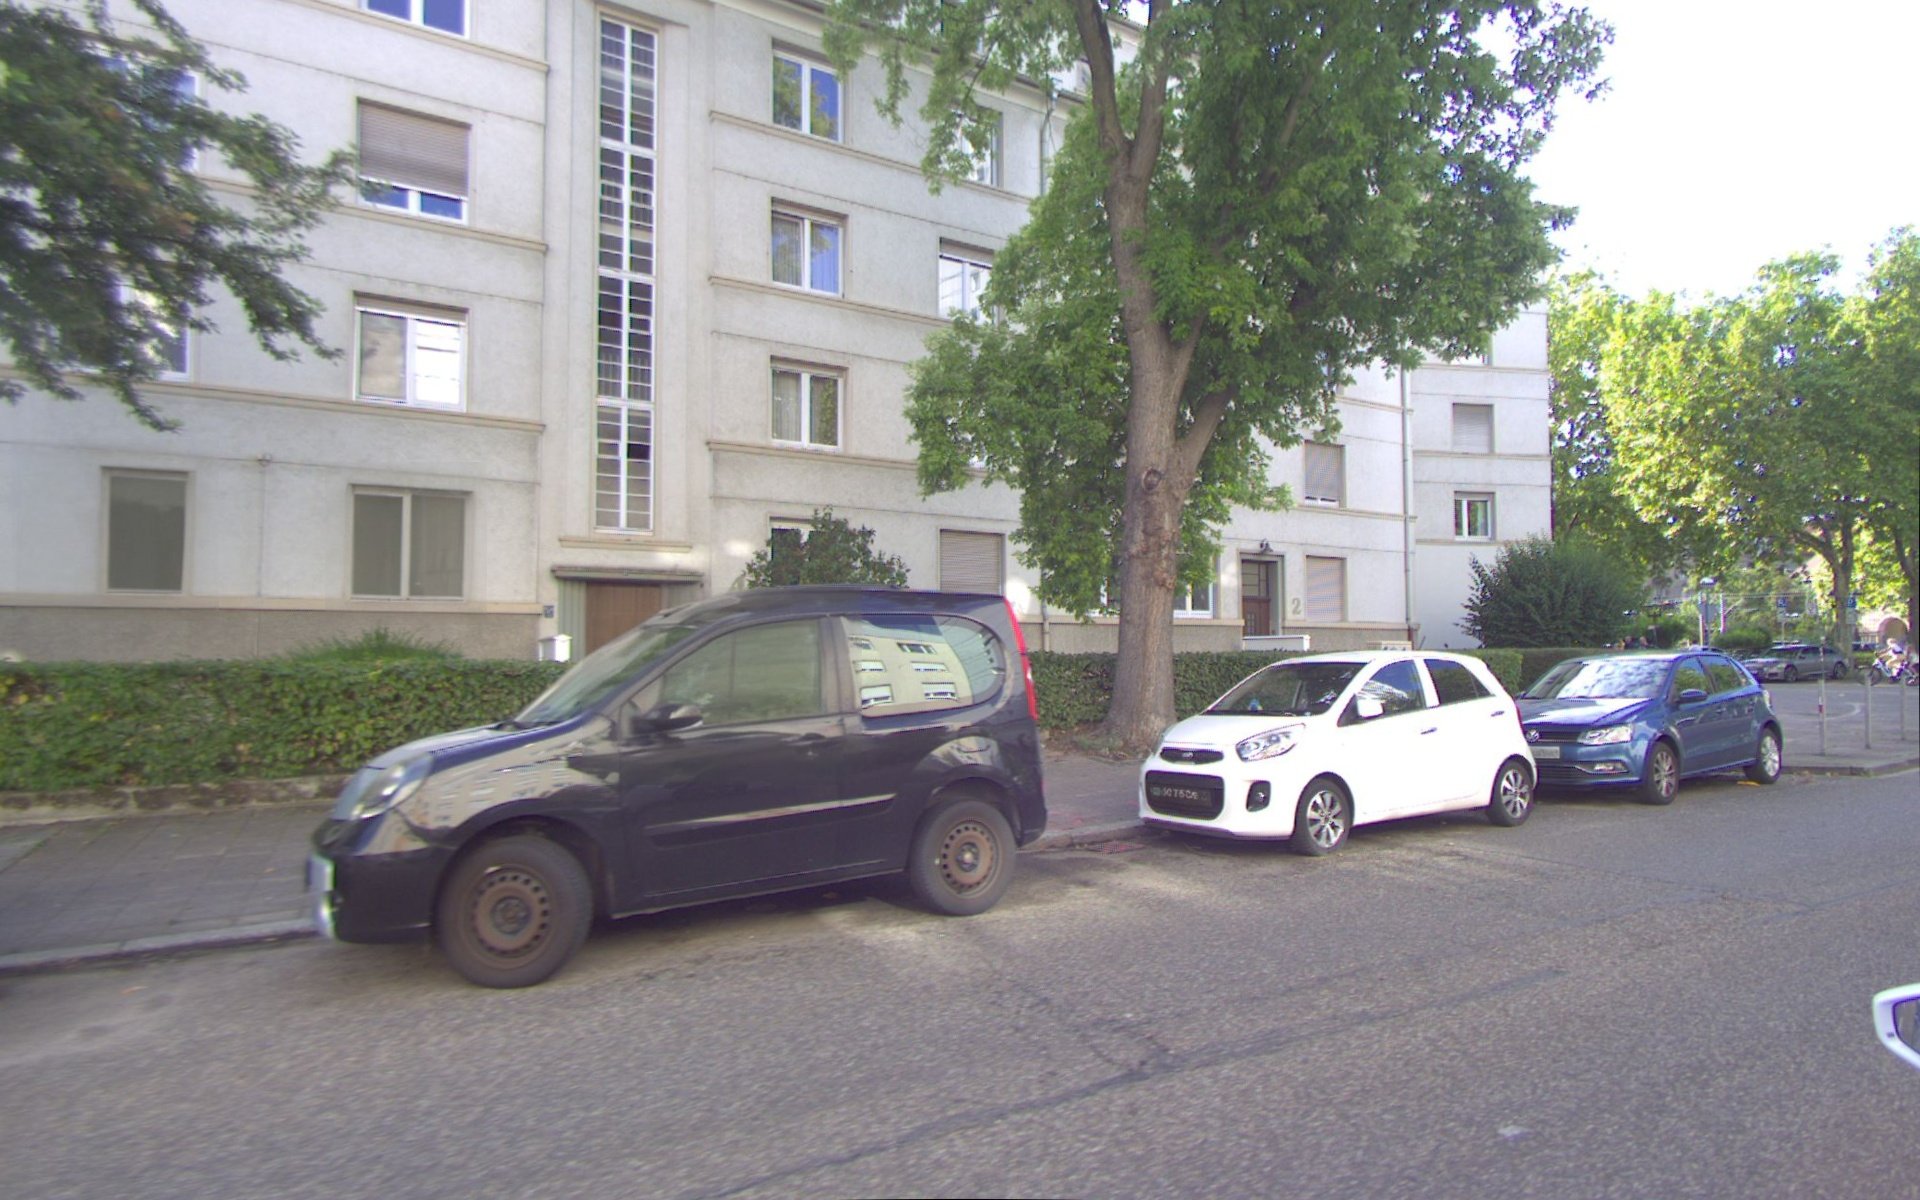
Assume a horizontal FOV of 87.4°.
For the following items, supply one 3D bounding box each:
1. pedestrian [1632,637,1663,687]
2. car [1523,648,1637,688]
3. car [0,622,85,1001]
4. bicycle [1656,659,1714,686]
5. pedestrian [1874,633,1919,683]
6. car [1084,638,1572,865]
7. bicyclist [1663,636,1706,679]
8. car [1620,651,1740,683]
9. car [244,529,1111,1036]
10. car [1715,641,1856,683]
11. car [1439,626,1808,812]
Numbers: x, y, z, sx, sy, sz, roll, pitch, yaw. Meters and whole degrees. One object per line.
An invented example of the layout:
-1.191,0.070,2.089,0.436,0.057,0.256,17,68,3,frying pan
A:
22.415,2.010,32.750,0.721,1.599,0.731,-2,-3,28,pedestrian
24.484,2.677,39.700,3.639,1.497,1.594,0,-3,-9,car
-5.765,0.825,3.096,4.276,1.512,1.689,1,-5,-27,car
29.048,2.905,40.270,0.749,1.007,1.924,0,-2,-9,bicycle
32.224,1.991,34.511,1.058,1.675,0.813,-2,-3,35,pedestrian
3.113,1.125,8.448,3.757,1.512,1.792,1,-6,-29,car
29.073,2.311,40.312,0.800,1.713,1.112,0,-3,-9,bicyclist
32.964,3.055,46.021,4.753,1.395,1.669,0,-3,-12,car
-1.339,0.786,5.619,4.143,1.906,1.715,1,-5,-31,car
33.957,2.542,41.342,4.897,1.606,2.232,1,-3,-19,car
7.082,1.169,10.669,3.760,1.640,1.791,1,-6,-32,car
